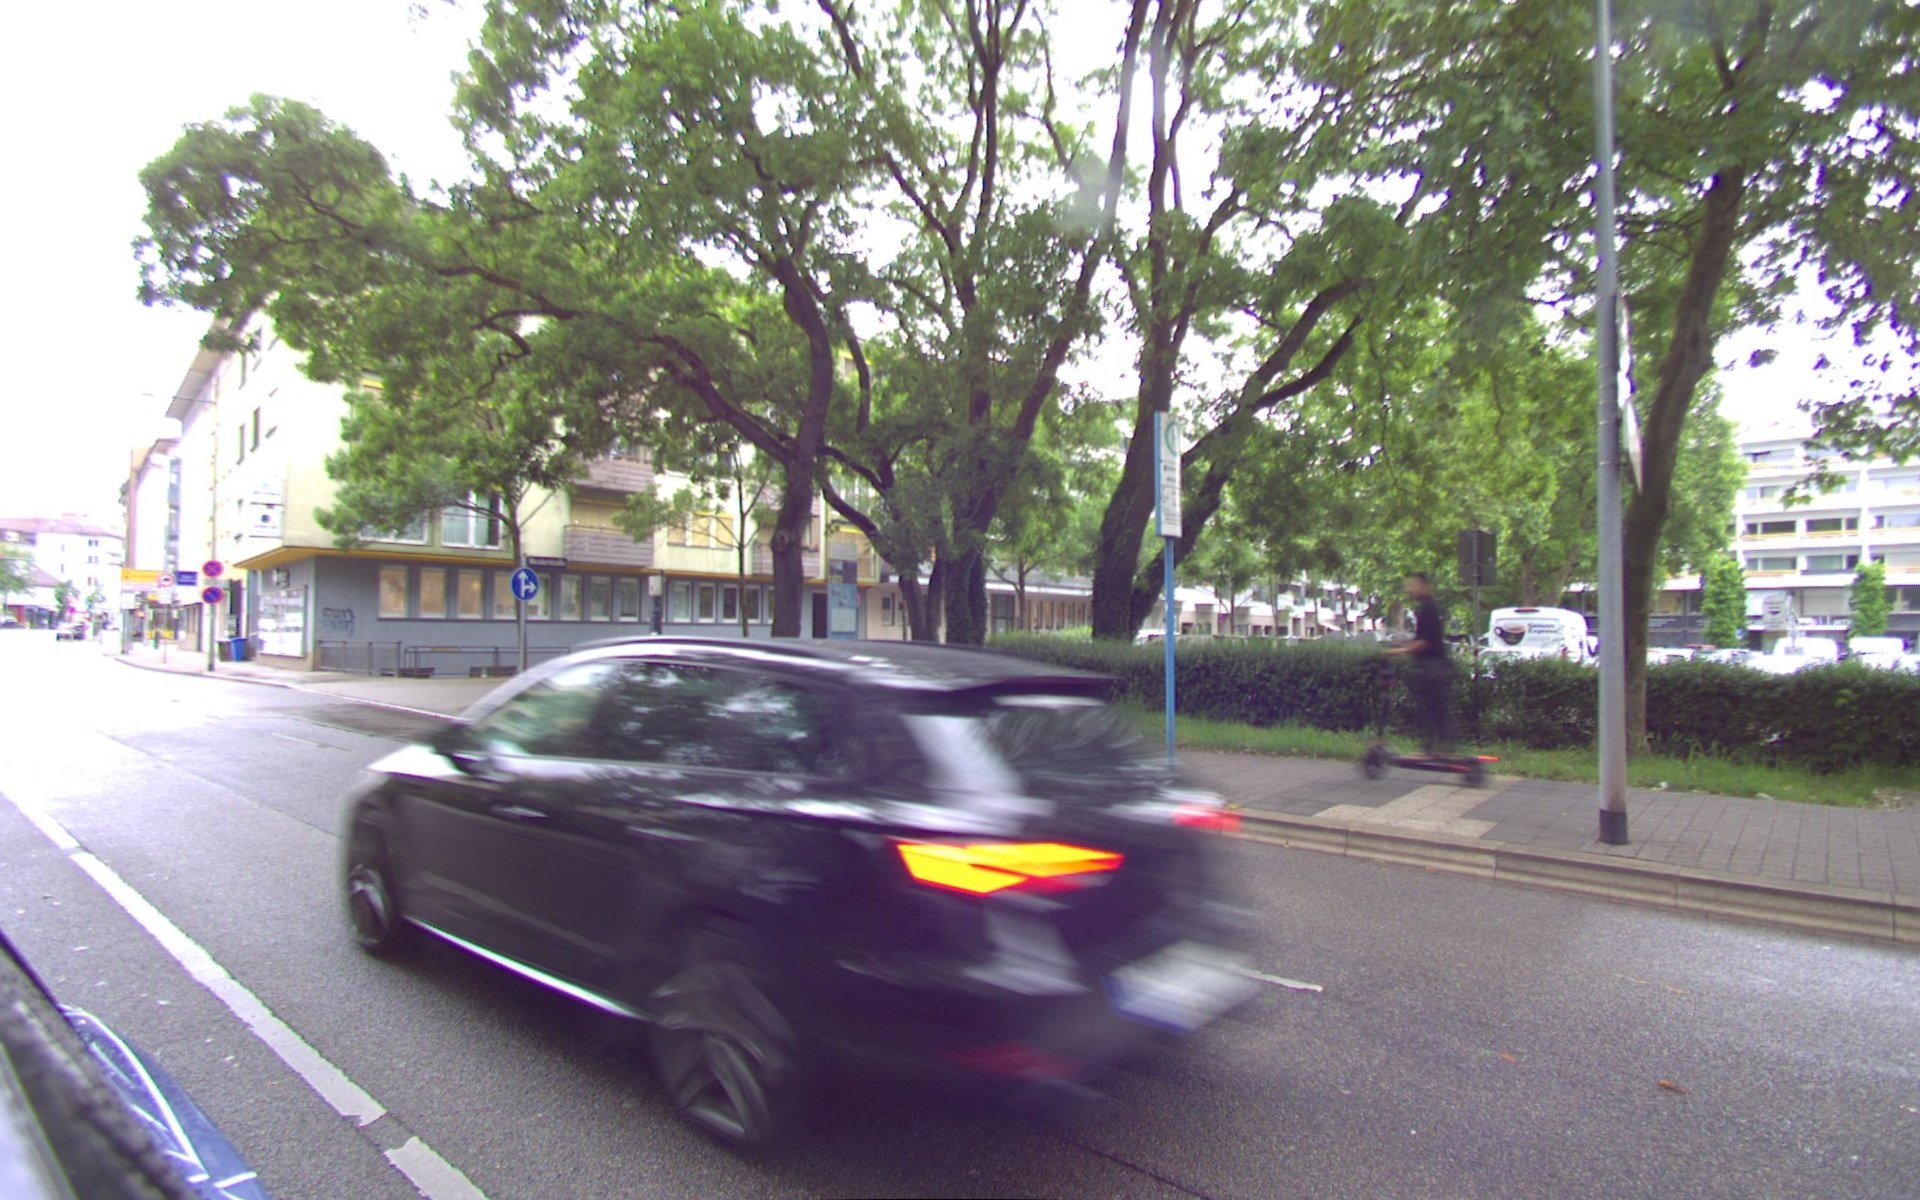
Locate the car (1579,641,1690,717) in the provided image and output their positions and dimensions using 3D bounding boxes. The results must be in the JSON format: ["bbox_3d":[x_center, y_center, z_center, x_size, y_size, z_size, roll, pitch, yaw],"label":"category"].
[{"bbox_3d":[16.718,1.872,25.003,1.895,1.497,3.948,-1,0,39],"label":"car"}]

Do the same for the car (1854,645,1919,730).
[{"bbox_3d":[20.494,1.811,21.610,1.895,1.497,3.948,-1,0,39],"label":"car"}]

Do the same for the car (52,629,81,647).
[{"bbox_3d":[-82.235,3.471,93.149,1.807,1.634,4.007,2,-3,-39],"label":"car"}]

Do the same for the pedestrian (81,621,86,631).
[{"bbox_3d":[-116.028,3.474,134.006,0.380,1.301,0.394,-2,-3,41],"label":"pedestrian"}]

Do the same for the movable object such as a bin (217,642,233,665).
[{"bbox_3d":[-31.118,2.262,42.841,0.458,0.935,0.429,-3,1,-42],"label":"movable object such as a bin"}]

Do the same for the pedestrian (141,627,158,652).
[{"bbox_3d":[-53.781,2.606,67.171,0.773,1.600,0.675,-1,-1,-29],"label":"pedestrian"}]

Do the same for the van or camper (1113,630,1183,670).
[{"bbox_3d":[10.382,2.740,55.608,1.825,2.029,4.576,1,-2,38],"label":"van or camper"}]

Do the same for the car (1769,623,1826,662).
[{"bbox_3d":[41.881,2.095,50.681,2.097,1.735,3.948,-1,0,39],"label":"car"}]

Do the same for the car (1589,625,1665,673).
[{"bbox_3d":[24.044,1.723,36.443,1.895,1.497,3.948,-1,0,39],"label":"car"}]

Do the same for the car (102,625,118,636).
[{"bbox_3d":[-127.222,4.577,151.528,1.567,1.539,3.496,2,-3,-36],"label":"car"}]

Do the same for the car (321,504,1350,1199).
[{"bbox_3d":[-0.821,0.703,4.113,4.135,1.638,1.826,-2,-4,41],"label":"car"}]

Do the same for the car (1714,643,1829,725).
[{"bbox_3d":[18.597,1.842,23.219,1.895,1.497,3.948,-1,0,39],"label":"car"}]

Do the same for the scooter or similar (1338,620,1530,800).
[{"bbox_3d":[4.231,0.917,9.067,1.397,1.457,0.806,0,-2,41],"label":"scooter or similar"}]

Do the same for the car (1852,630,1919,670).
[{"bbox_3d":[40.312,2.134,44.159,1.895,1.497,3.948,-1,0,39],"label":"car"}]

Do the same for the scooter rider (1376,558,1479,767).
[{"bbox_3d":[4.211,0.539,9.108,0.645,1.779,0.725,0,-1,42],"label":"scooter rider"}]

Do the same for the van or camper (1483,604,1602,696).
[{"bbox_3d":[16.875,1.426,29.225,2.099,2.450,4.280,-2,-3,42],"label":"van or camper"}]

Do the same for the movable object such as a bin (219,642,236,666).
[{"bbox_3d":[-30.697,2.257,42.414,0.521,0.935,0.426,-3,1,-42],"label":"movable object such as a bin"}]

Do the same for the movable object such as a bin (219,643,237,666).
[{"bbox_3d":[-30.385,2.273,42.013,0.522,0.902,0.435,-3,1,-42],"label":"movable object such as a bin"}]

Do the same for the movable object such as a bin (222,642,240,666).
[{"bbox_3d":[-30.011,2.218,41.652,0.522,0.968,0.435,-3,1,-42],"label":"movable object such as a bin"}]

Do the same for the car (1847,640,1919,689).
[{"bbox_3d":[33.344,2.270,36.463,1.895,1.497,3.948,-1,0,39],"label":"car"}]

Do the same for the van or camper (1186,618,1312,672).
[{"bbox_3d":[14.234,2.183,49.385,2.561,2.420,8.535,-2,-3,41],"label":"van or camper"}]

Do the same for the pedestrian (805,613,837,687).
[{"bbox_3d":[-3.850,1.386,28.069,0.769,2.029,0.755,1,-2,-15],"label":"pedestrian"}]
